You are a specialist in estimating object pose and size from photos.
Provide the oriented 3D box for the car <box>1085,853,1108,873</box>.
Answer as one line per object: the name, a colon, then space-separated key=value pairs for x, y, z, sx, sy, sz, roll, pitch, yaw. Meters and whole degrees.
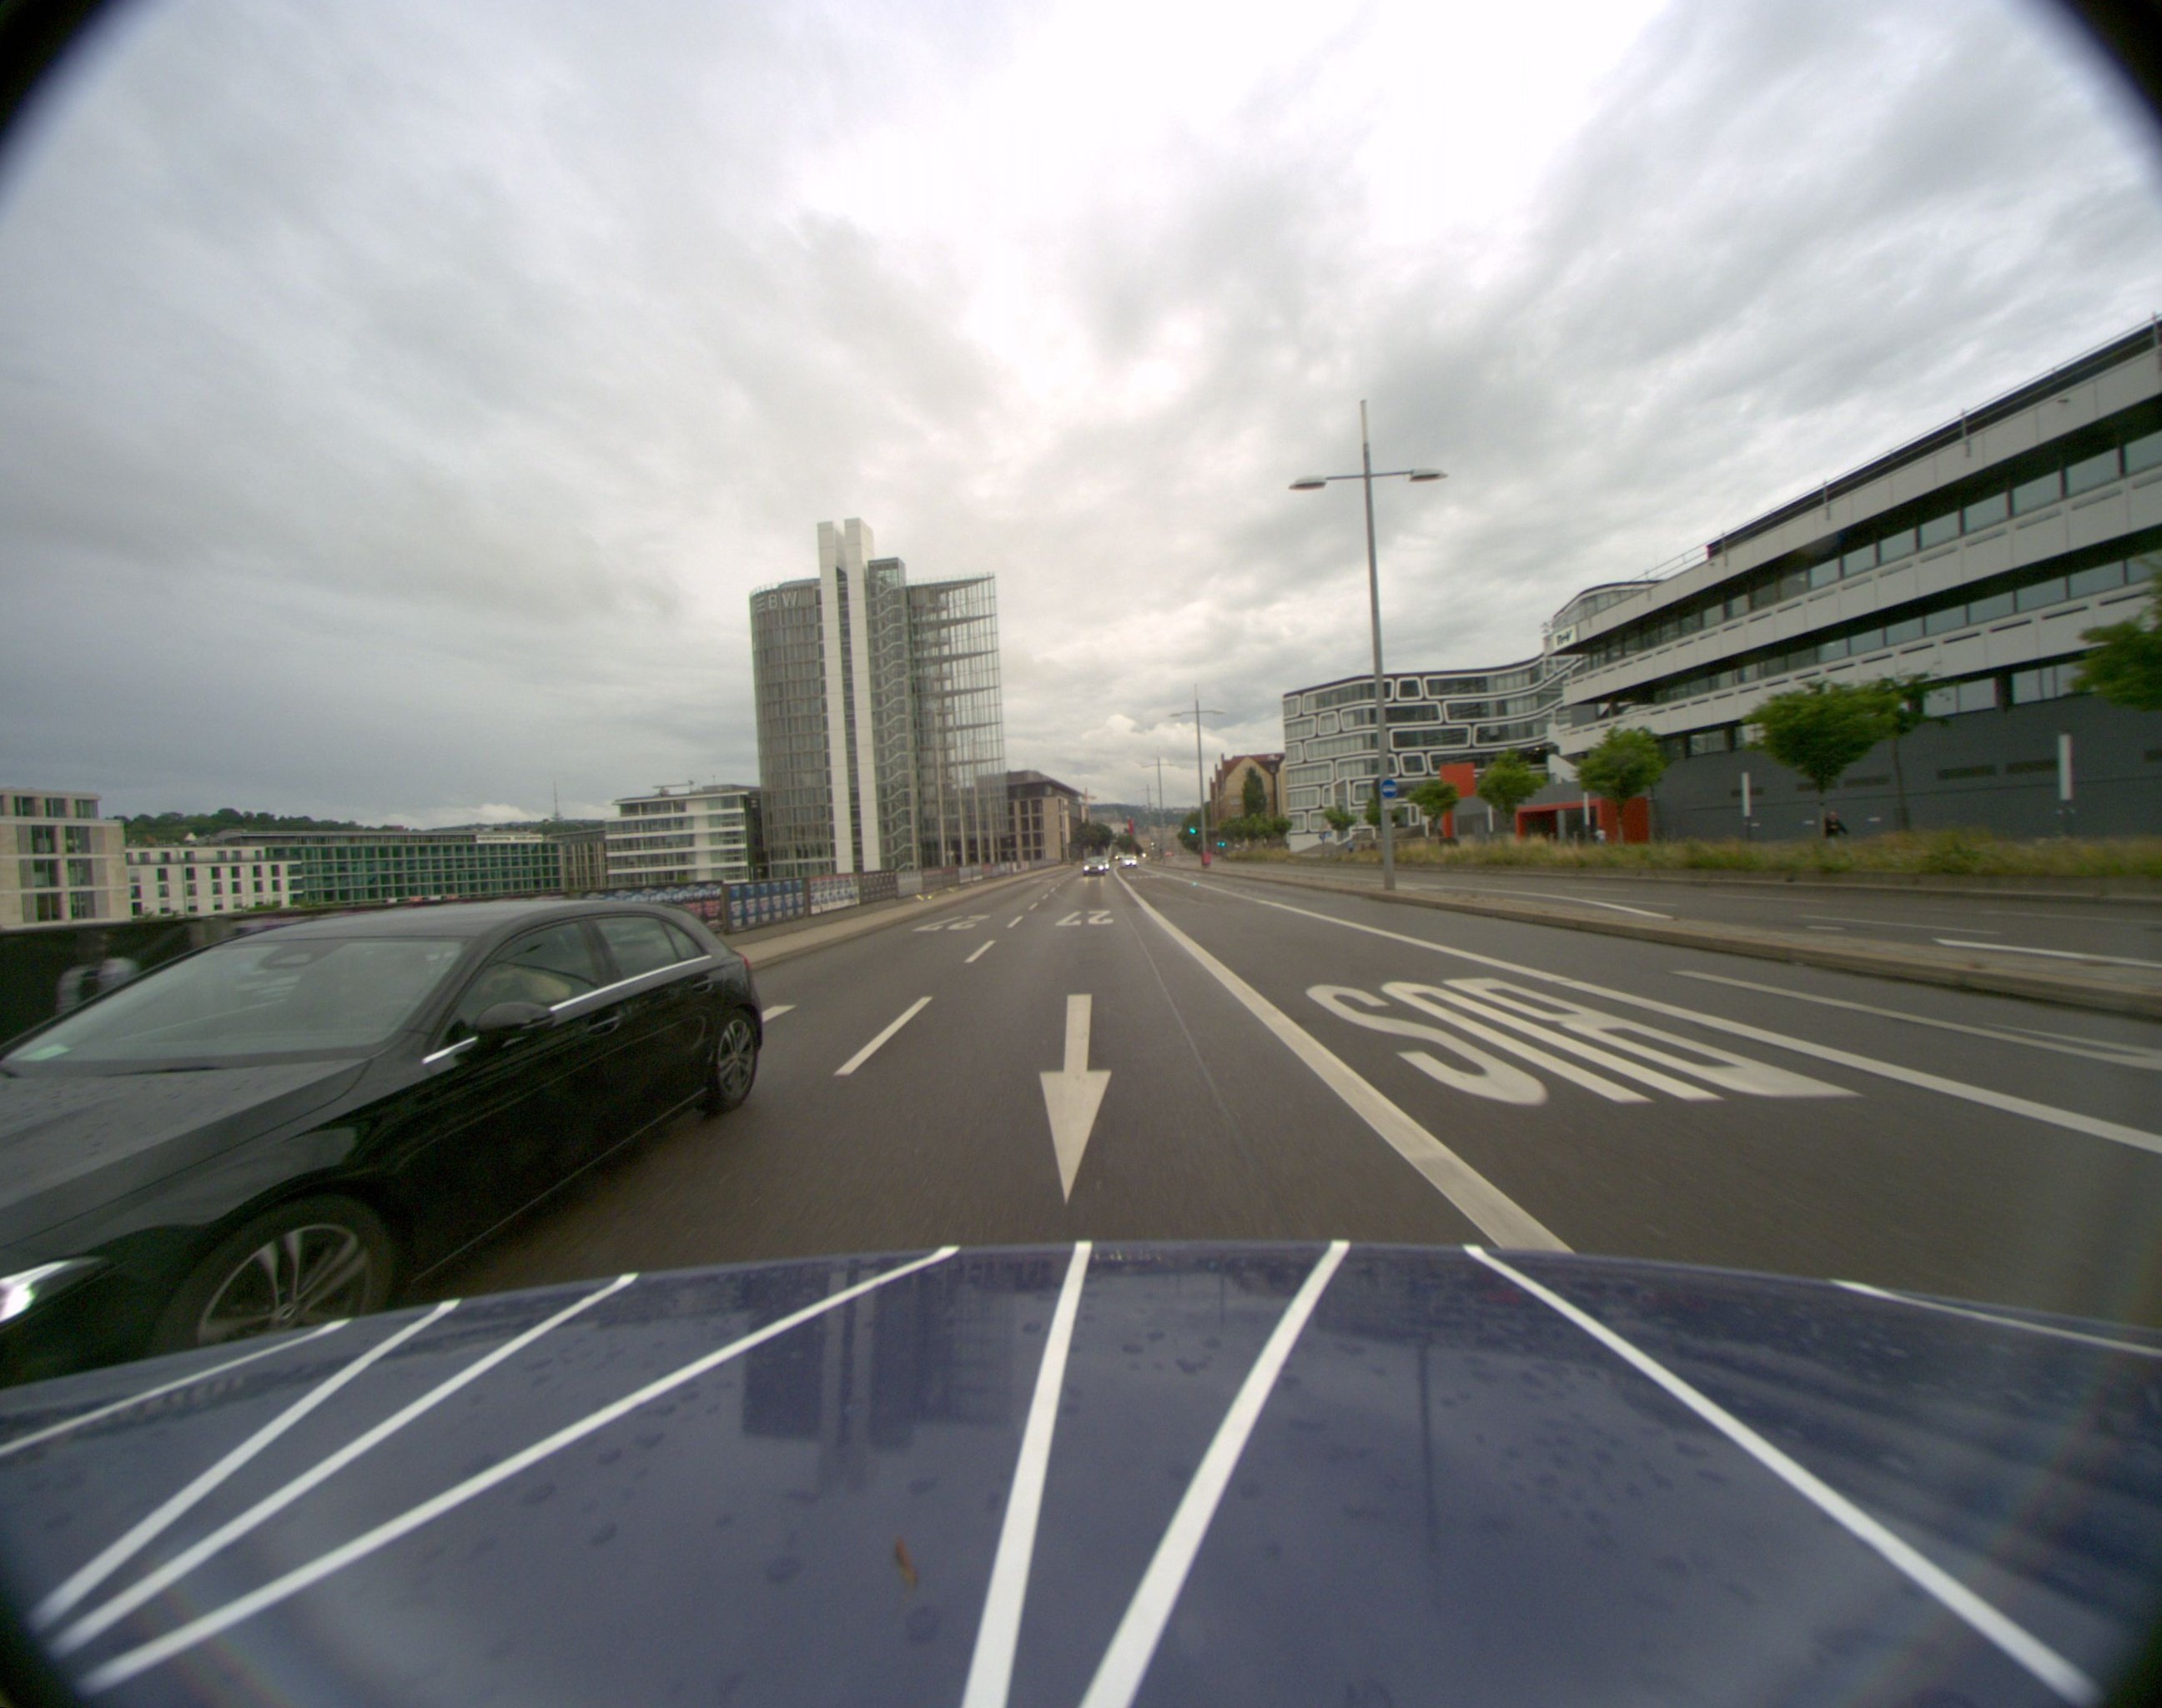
car: x=1.235 y=0.652 z=59.537 sx=1.684 sy=1.379 sz=3.475 roll=-2 pitch=1 yaw=1

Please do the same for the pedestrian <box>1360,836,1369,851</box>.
pedestrian: x=28.948 y=-1.070 z=77.567 sx=0.619 sy=1.438 sz=0.798 roll=-2 pitch=2 yaw=3

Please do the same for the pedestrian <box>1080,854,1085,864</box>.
pedestrian: x=0.207 y=0.866 z=130.576 sx=0.660 sy=1.601 sz=0.547 roll=-3 pitch=1 yaw=8

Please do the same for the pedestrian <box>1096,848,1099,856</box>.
pedestrian: x=3.211 y=-0.367 z=151.544 sx=0.542 sy=1.519 sz=0.600 roll=-2 pitch=2 yaw=-2

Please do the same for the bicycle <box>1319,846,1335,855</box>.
bicycle: x=26.025 y=-0.354 z=80.401 sx=0.610 sy=0.852 sz=1.653 roll=-4 pitch=2 yaw=-32

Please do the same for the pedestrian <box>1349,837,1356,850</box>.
pedestrian: x=32.552 y=-1.271 z=91.095 sx=0.612 sy=1.602 sz=0.640 roll=-4 pitch=2 yaw=5

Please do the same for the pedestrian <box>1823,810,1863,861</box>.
pedestrian: x=27.622 y=-0.672 z=27.555 sx=0.786 sy=1.797 sz=0.628 roll=-2 pitch=2 yaw=2

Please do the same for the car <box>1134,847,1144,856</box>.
car: x=13.867 y=-0.540 z=182.570 sx=1.998 sy=2.002 sz=3.999 roll=-2 pitch=2 yaw=1

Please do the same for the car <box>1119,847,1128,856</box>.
car: x=10.353 y=-0.556 z=186.797 sx=1.998 sy=2.002 sz=3.999 roll=-2 pitch=2 yaw=1

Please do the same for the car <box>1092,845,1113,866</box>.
car: x=2.175 y=0.160 z=78.393 sx=1.998 sy=2.002 sz=3.999 roll=-2 pitch=2 yaw=1

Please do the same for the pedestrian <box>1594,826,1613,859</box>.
pedestrian: x=29.231 y=-0.634 z=42.489 sx=0.631 sy=1.797 sz=0.628 roll=-2 pitch=2 yaw=2

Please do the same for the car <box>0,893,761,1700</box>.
car: x=-3.075 y=1.031 z=3.058 sx=1.727 sy=1.368 sz=4.154 roll=-2 pitch=1 yaw=0

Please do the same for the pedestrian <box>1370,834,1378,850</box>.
pedestrian: x=29.953 y=-1.244 z=77.664 sx=0.619 sy=1.649 sz=0.798 roll=-1 pitch=2 yaw=3

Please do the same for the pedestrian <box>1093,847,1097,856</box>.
pedestrian: x=2.786 y=-0.476 z=152.400 sx=0.728 sy=1.761 sz=0.783 roll=-3 pitch=2 yaw=-4

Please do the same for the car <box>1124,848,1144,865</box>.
car: x=6.244 y=0.245 z=89.487 sx=1.969 sy=1.816 sz=3.929 roll=-3 pitch=2 yaw=7
